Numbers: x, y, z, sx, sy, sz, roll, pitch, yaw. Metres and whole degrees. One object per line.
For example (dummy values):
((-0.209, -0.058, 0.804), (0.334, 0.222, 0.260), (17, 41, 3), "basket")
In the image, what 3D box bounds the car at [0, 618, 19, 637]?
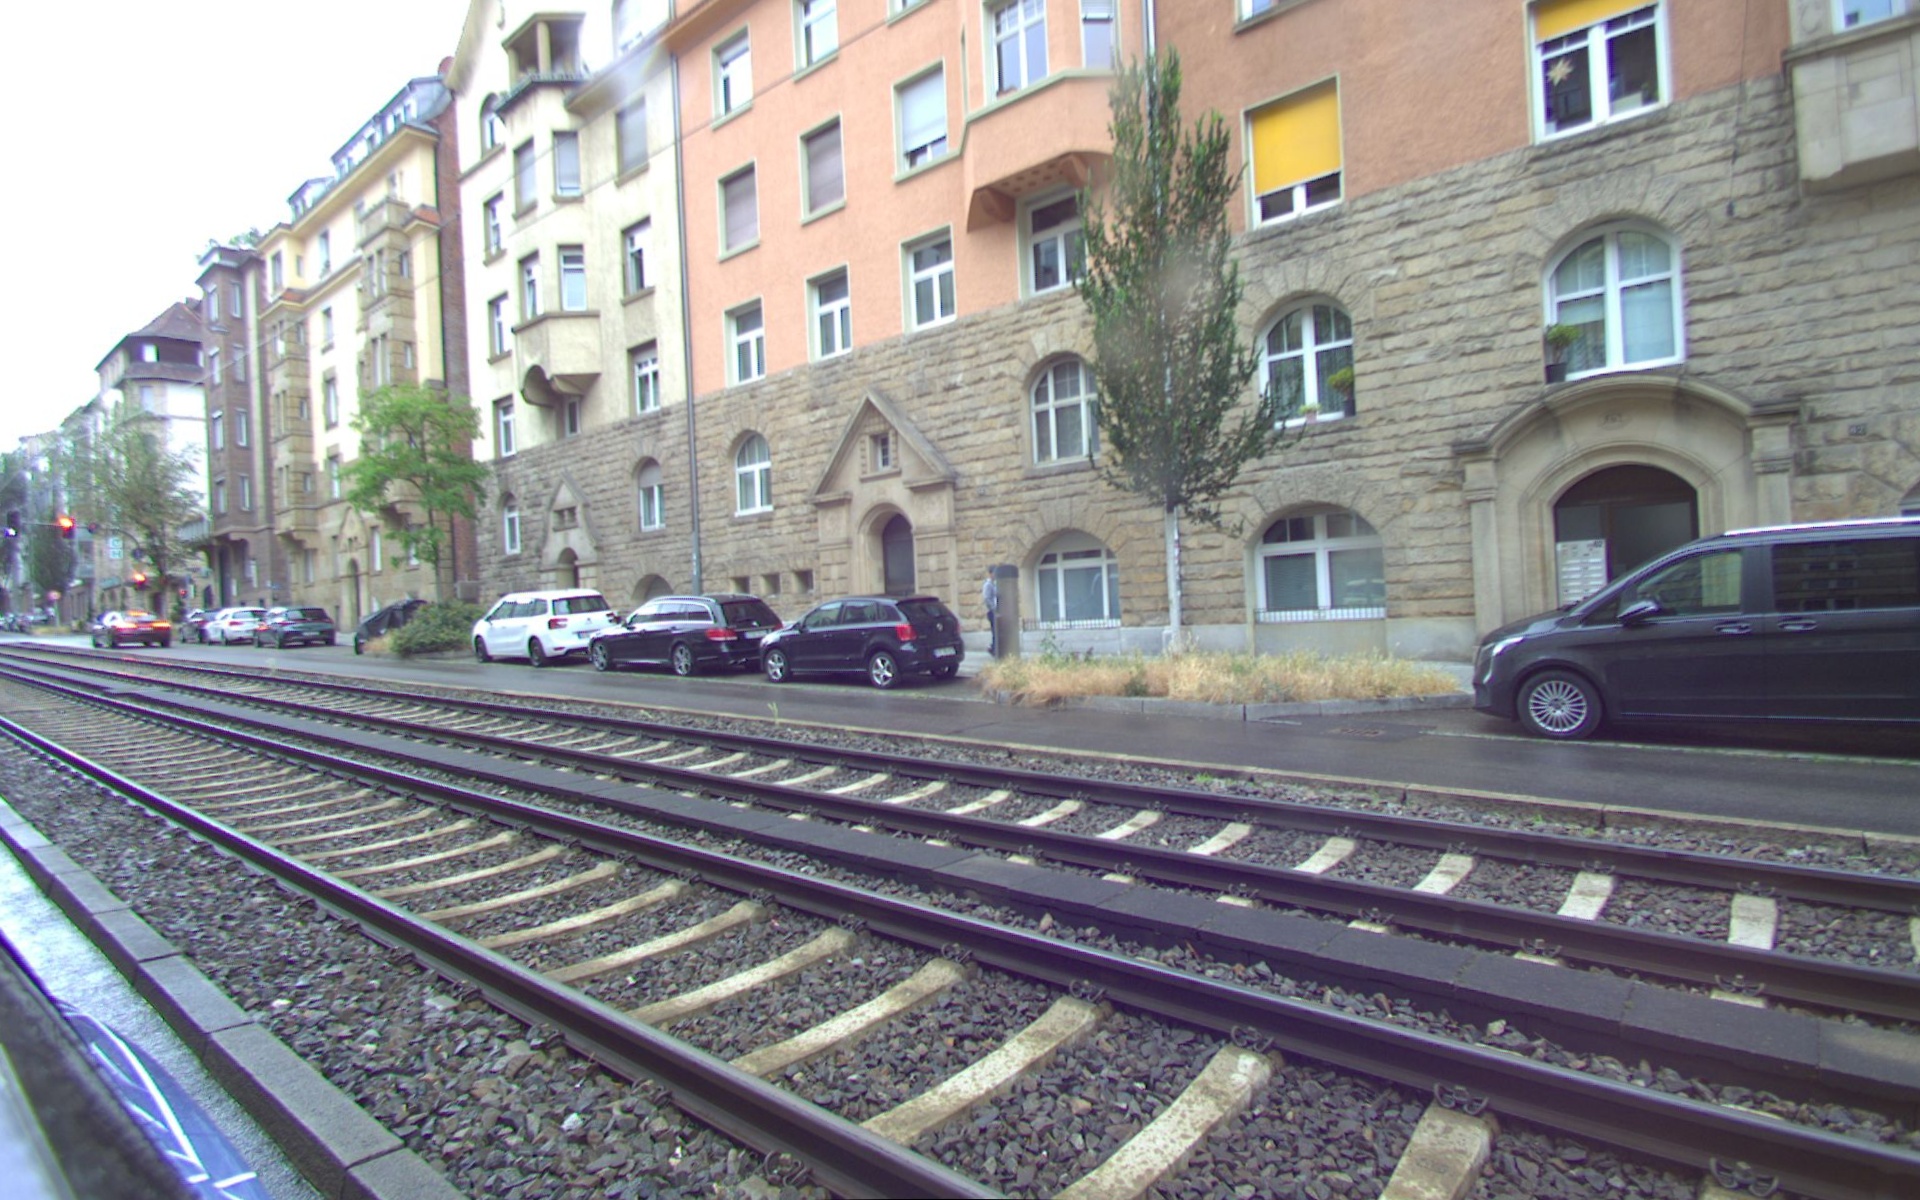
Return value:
((-80.917, 2.329, 85.410), (3.843, 1.527, 1.748), (-1, 0, 41), "car")

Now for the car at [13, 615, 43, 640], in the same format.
((-69.041, 2.028, 74.972), (1.561, 1.691, 3.794), (-2, 2, -43), "car")

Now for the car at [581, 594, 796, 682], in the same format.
((-5.437, 0.708, 19.937), (4.599, 1.506, 1.824), (-1, 0, 41), "car")

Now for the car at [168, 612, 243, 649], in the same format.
((-32.143, 1.287, 43.084), (3.843, 1.452, 1.748), (-1, 0, 41), "car")

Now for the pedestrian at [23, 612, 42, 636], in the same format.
((-80.188, 2.076, 87.514), (1.163, 1.972, 1.042), (-1, 0, 43), "pedestrian")

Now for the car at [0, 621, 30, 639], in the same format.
((-74.290, 2.318, 79.337), (3.843, 1.321, 1.563), (-1, 0, 41), "car")

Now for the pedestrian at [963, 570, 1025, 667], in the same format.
((0.608, 0.312, 18.075), (0.765, 1.654, 0.692), (-1, 3, 41), "pedestrian")

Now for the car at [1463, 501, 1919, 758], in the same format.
((7.347, 0.222, 8.982), (4.823, 1.956, 1.973), (-1, 0, 41), "car")

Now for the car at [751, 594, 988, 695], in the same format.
((-1.556, 0.679, 16.916), (3.638, 1.508, 1.912), (-1, 0, 38), "car")

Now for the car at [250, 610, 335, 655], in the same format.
((-23.683, 1.114, 35.859), (3.845, 1.452, 1.656), (-1, 1, 43), "car")

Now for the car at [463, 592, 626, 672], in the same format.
((-9.745, 0.715, 23.610), (4.144, 1.668, 1.843), (-1, 0, 41), "car")

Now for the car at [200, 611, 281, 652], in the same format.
((-28.285, 1.231, 39.762), (4.030, 1.452, 1.748), (-1, 1, 42), "car")

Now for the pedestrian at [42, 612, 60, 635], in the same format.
((-79.433, 2.070, 88.403), (1.163, 1.972, 1.042), (-1, 0, 43), "pedestrian")

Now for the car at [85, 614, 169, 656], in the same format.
((-33.181, 1.363, 40.256), (4.962, 1.535, 1.784), (-1, 0, 41), "car")

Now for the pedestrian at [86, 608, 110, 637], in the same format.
((-59.249, 1.543, 69.561), (1.163, 1.972, 1.042), (-1, 0, 43), "pedestrian")

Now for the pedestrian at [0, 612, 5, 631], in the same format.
((-101.376, 2.273, 106.294), (1.379, 1.972, 1.362), (-1, 0, 43), "pedestrian")
